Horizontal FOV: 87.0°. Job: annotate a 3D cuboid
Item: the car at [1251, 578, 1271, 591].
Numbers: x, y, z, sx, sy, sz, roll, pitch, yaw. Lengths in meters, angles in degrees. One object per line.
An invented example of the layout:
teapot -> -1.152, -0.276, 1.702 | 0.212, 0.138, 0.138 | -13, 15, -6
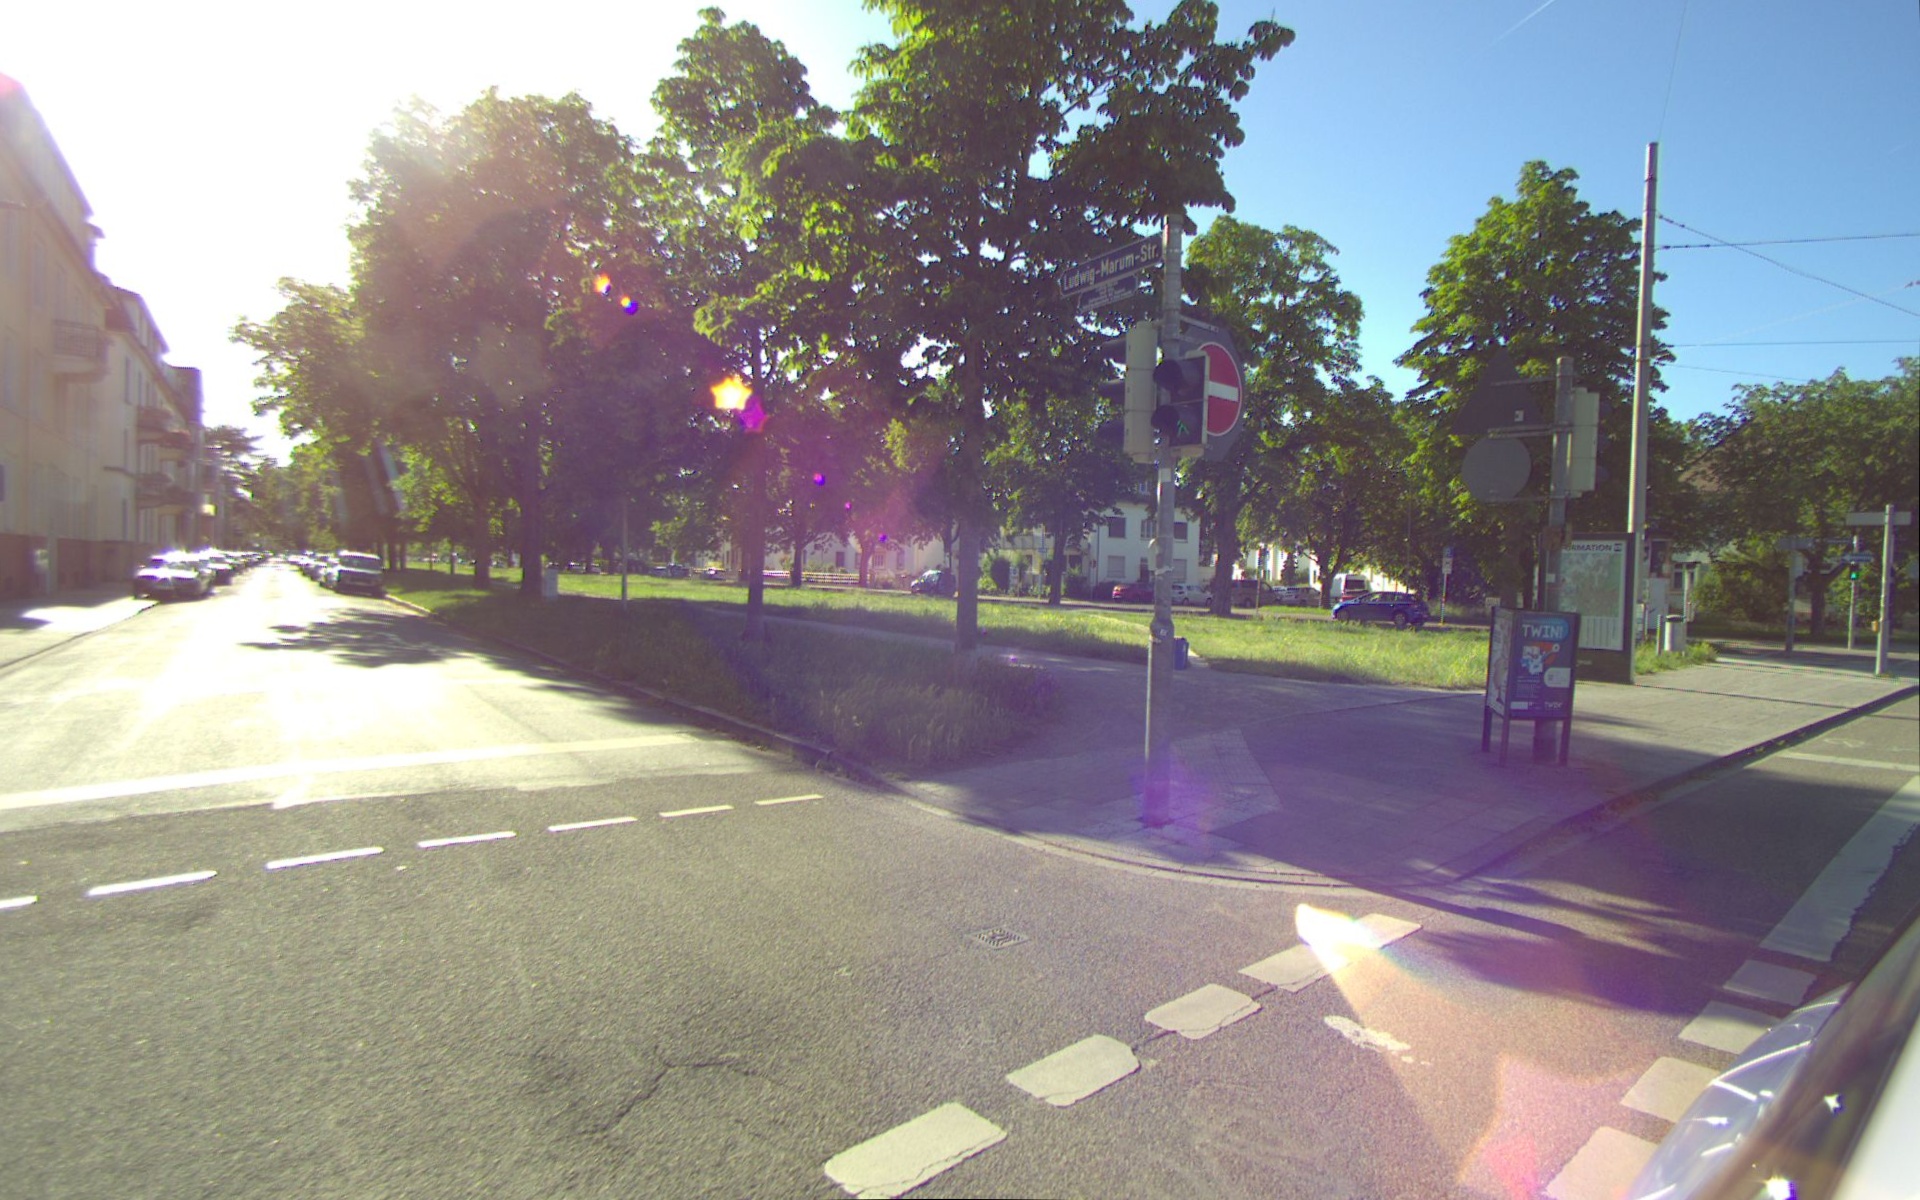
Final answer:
car -> 36.275, -1.936, 122.209 | 1.730, 1.489, 3.887 | 2, 1, 9

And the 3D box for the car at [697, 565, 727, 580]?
car -> -26.798, -2.970, 109.316 | 1.790, 1.451, 4.002 | 1, 2, -35

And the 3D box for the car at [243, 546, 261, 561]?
car -> -89.395, -5.838, 127.795 | 1.701, 1.624, 3.706 | 1, 0, -34

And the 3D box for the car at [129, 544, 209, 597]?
car -> -27.184, -0.971, 34.889 | 1.792, 1.626, 3.854 | 3, -2, -33

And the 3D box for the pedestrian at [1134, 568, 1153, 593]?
pedestrian -> 13.128, -1.400, 72.293 | 0.882, 1.791, 1.025 | 1, -1, -33

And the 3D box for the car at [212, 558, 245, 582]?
car -> -55.094, -2.233, 76.223 | 1.700, 1.624, 3.708 | 1, 0, -31

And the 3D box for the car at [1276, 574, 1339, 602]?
car -> 22.597, -0.751, 65.807 | 3.637, 1.668, 1.926 | 1, 1, -28

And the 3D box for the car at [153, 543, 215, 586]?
car -> -29.953, -1.330, 39.154 | 1.702, 1.532, 3.705 | 1, 0, -35

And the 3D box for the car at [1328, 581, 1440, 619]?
car -> 18.045, -0.025, 43.194 | 1.784, 1.451, 3.997 | 0, 2, -39

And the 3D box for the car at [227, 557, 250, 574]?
car -> -73.228, -3.459, 102.730 | 1.701, 1.624, 3.706 | 1, 0, -34

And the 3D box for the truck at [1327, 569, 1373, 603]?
truck -> 31.552, -1.200, 81.982 | 1.964, 2.608, 4.977 | 2, 1, 3

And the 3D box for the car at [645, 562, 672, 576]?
car -> -33.886, -3.535, 113.607 | 1.790, 1.451, 4.002 | 1, 2, -35

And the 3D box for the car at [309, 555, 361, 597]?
car -> -30.223, -1.133, 48.888 | 1.891, 1.906, 4.066 | 1, 0, -35

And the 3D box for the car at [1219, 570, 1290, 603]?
car -> 18.286, -0.841, 62.800 | 4.257, 1.858, 1.925 | 1, 1, -33

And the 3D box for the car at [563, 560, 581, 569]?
car -> -61.977, -5.674, 161.809 | 1.790, 1.451, 4.002 | 1, 2, -35

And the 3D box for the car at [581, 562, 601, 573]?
car -> -55.377, -4.856, 151.815 | 1.790, 1.451, 4.002 | 1, 2, -35

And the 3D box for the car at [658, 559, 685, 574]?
car -> -34.605, -4.079, 121.377 | 1.790, 1.624, 4.002 | 3, 1, -35

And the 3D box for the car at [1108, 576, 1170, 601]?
car -> 11.736, -0.743, 66.273 | 3.822, 1.489, 1.760 | 1, 2, -36

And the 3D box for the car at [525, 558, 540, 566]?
car -> -79.951, -7.054, 189.240 | 1.790, 1.451, 4.002 | 1, 2, -35

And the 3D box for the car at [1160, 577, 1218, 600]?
car -> 15.719, -0.788, 69.423 | 3.822, 1.489, 1.760 | 1, 2, -36

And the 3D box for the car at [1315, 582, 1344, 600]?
car -> 31.615, -0.789, 86.698 | 1.732, 1.489, 3.883 | 2, 1, 12

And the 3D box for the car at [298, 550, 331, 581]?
car -> -47.267, -2.490, 74.095 | 1.890, 2.057, 4.663 | 1, 0, -34

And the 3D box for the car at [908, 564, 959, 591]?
car -> -1.954, -1.601, 72.696 | 1.782, 1.848, 4.000 | -1, 1, -35

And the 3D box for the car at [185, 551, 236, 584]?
car -> -37.176, -1.598, 50.273 | 1.700, 1.506, 3.708 | 1, 0, -31

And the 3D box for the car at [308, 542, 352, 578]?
car -> -36.039, -2.253, 57.866 | 1.891, 1.906, 3.705 | 1, 0, -35

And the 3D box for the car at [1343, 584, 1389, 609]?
car -> 27.973, -0.213, 69.728 | 1.601, 1.554, 4.218 | 3, 0, 41

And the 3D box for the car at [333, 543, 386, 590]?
car -> -26.412, -1.438, 44.506 | 1.889, 1.906, 3.708 | 1, 0, -31
